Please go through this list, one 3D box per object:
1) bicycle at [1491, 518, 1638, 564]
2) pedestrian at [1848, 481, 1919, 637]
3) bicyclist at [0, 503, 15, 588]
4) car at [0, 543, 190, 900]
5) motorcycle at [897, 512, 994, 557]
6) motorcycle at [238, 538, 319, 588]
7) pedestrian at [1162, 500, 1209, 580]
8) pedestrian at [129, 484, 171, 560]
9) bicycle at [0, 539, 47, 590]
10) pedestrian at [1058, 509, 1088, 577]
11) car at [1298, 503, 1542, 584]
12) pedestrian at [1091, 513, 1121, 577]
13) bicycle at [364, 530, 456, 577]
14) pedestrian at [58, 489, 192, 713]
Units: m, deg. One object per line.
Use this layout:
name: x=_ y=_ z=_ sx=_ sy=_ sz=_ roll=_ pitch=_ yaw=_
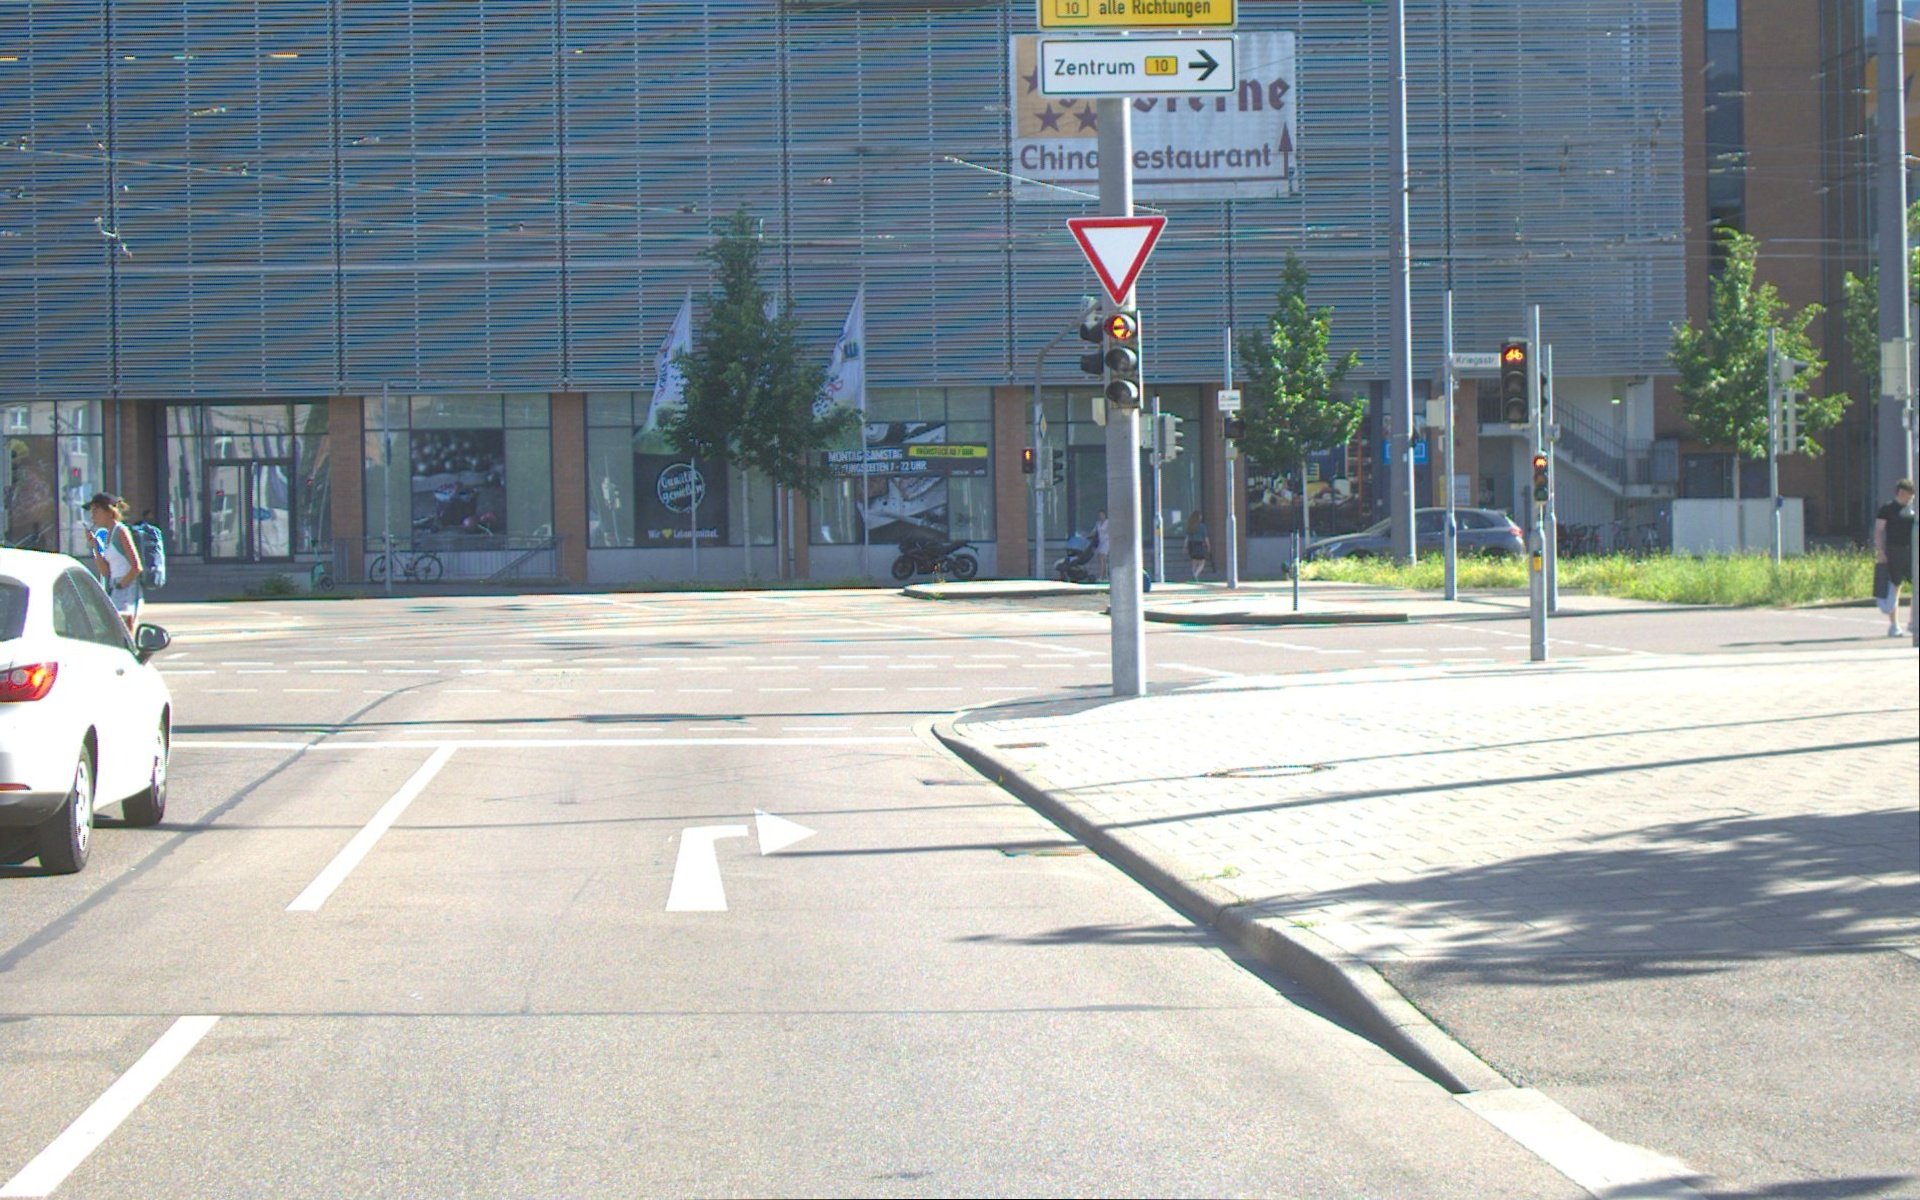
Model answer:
bicycle: x=14.571 y=-1.428 z=82.926 sx=3.360 sy=1.073 sz=1.117 roll=0 pitch=2 yaw=1
pedestrian: x=10.410 y=-0.464 z=38.248 sx=0.806 sy=1.703 sz=0.762 roll=-1 pitch=1 yaw=-5
bicyclist: x=-20.862 y=-1.165 z=73.646 sx=0.815 sy=1.797 sz=0.843 roll=1 pitch=2 yaw=44
car: x=-4.722 y=0.466 z=16.157 sx=1.632 sy=1.418 sz=3.783 roll=2 pitch=1 yaw=-5
motorcycle: x=-0.347 y=-1.545 z=81.377 sx=2.202 sy=1.039 sz=1.061 roll=0 pitch=2 yaw=-5
motorcycle: x=-14.899 y=-0.805 z=75.158 sx=1.652 sy=1.055 sz=0.497 roll=-1 pitch=1 yaw=5
pedestrian: x=4.970 y=-1.321 z=75.742 sx=0.853 sy=1.732 sz=0.754 roll=-1 pitch=1 yaw=-11
pedestrian: x=-18.978 y=-1.821 z=80.525 sx=0.848 sy=1.757 sz=0.620 roll=-1 pitch=1 yaw=-6
bicycle: x=-20.838 y=-0.749 z=73.649 sx=1.045 sy=1.067 sz=2.239 roll=1 pitch=2 yaw=45
pedestrian: x=2.553 y=-1.290 z=77.554 sx=0.589 sy=1.529 sz=0.658 roll=-1 pitch=1 yaw=-5
car: x=8.937 y=-1.107 z=66.927 sx=4.486 sy=1.489 sz=1.495 roll=-1 pitch=2 yaw=-5
pedestrian: x=3.317 y=-1.254 z=78.214 sx=0.589 sy=1.457 sz=0.658 roll=-1 pitch=1 yaw=-5
bicycle: x=-12.817 y=-1.085 z=80.113 sx=2.026 sy=1.055 sz=1.145 roll=-1 pitch=2 yaw=-5
pedestrian: x=-6.466 y=-0.006 z=26.644 sx=0.885 sy=1.701 sz=0.713 roll=-1 pitch=1 yaw=-5
